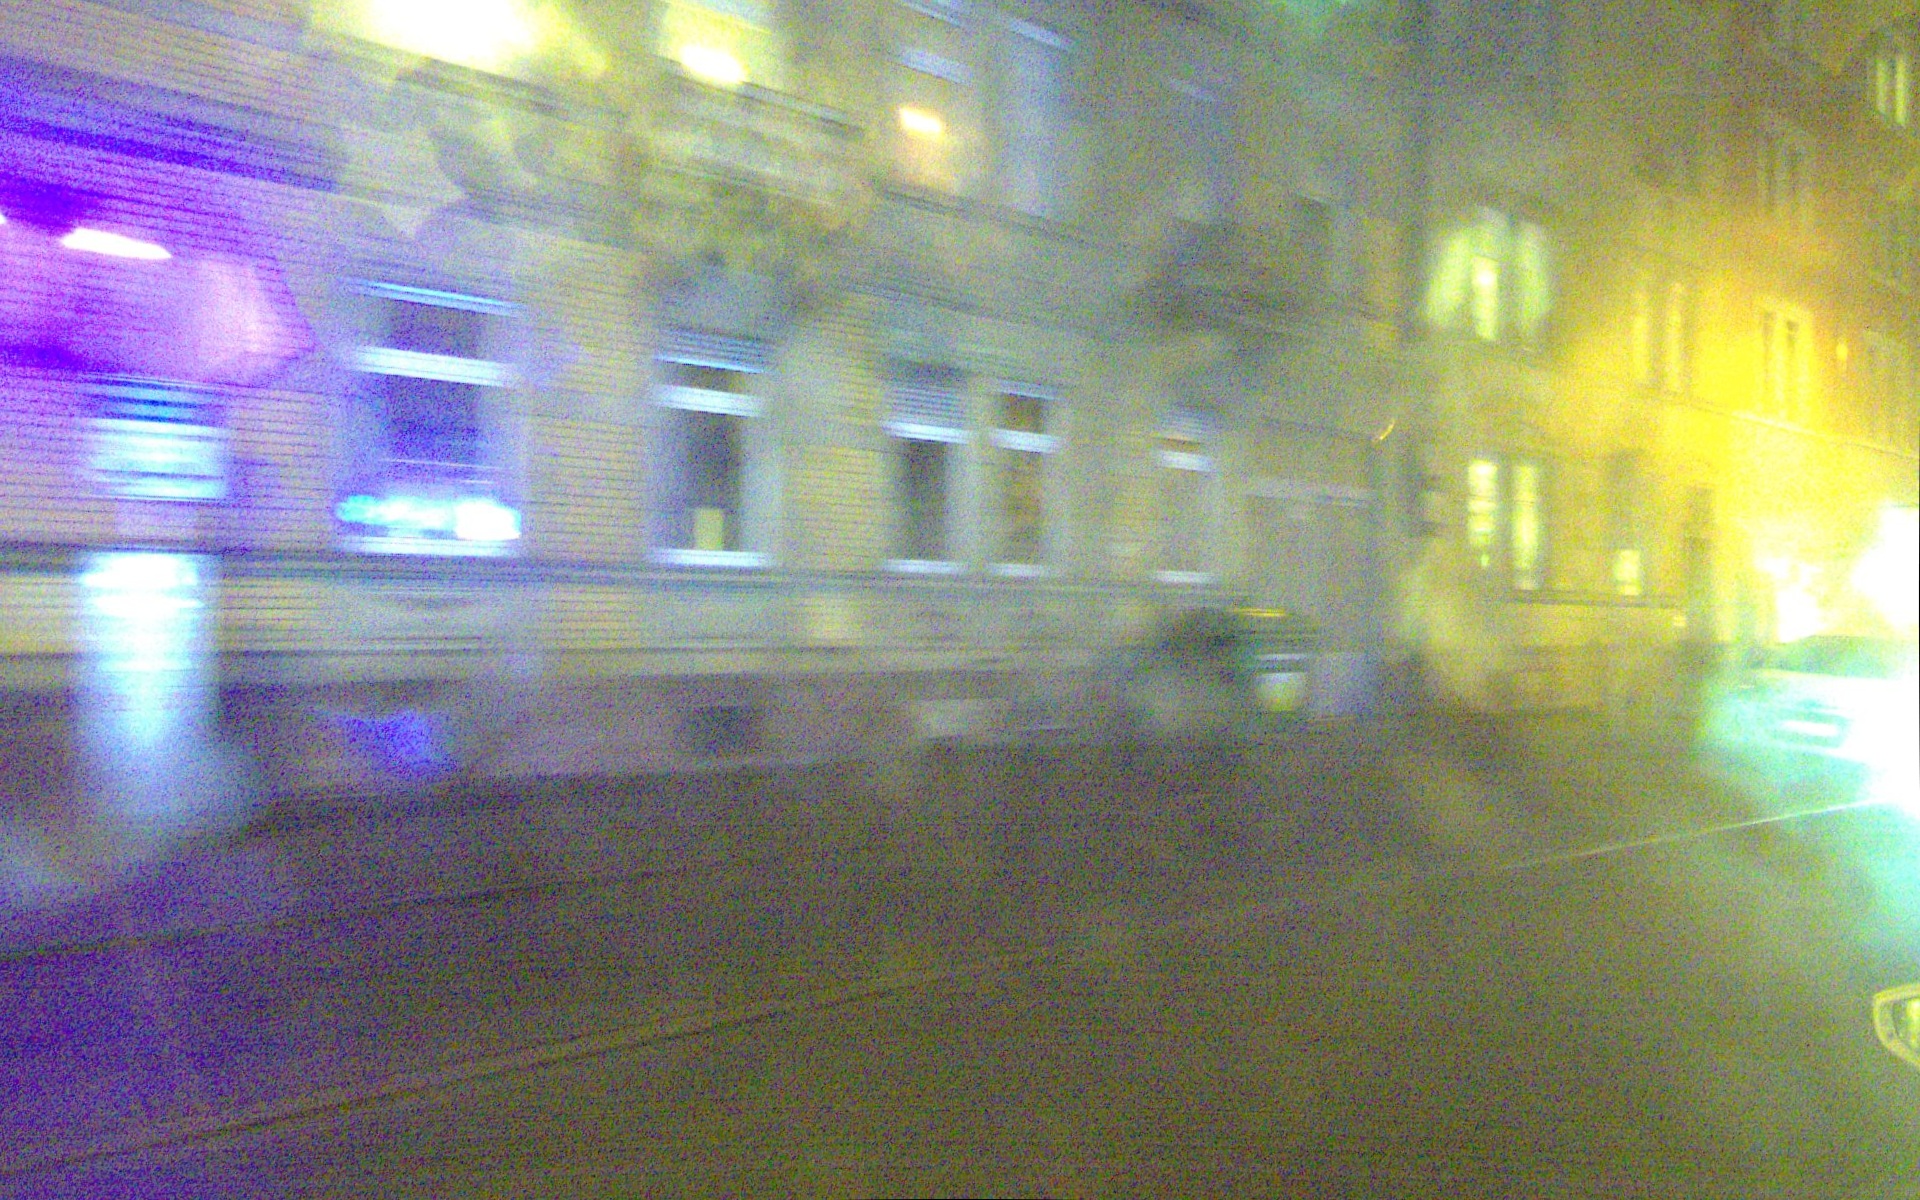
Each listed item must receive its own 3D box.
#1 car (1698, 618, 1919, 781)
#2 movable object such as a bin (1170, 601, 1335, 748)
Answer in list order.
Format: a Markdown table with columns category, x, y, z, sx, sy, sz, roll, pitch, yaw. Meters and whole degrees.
| category | x | y | z | sx | sy | sz | roll | pitch | yaw |
| --- | --- | --- | --- | --- | --- | --- | --- | --- | --- |
| car | 10.203 | 1.007 | 11.349 | 3.678 | 1.511 | 1.664 | 1 | 1 | -30 |
| movable object such as a bin | 3.160 | 0.764 | 10.871 | 1.363 | 1.473 | 1.095 | 1 | -1 | -32 |
